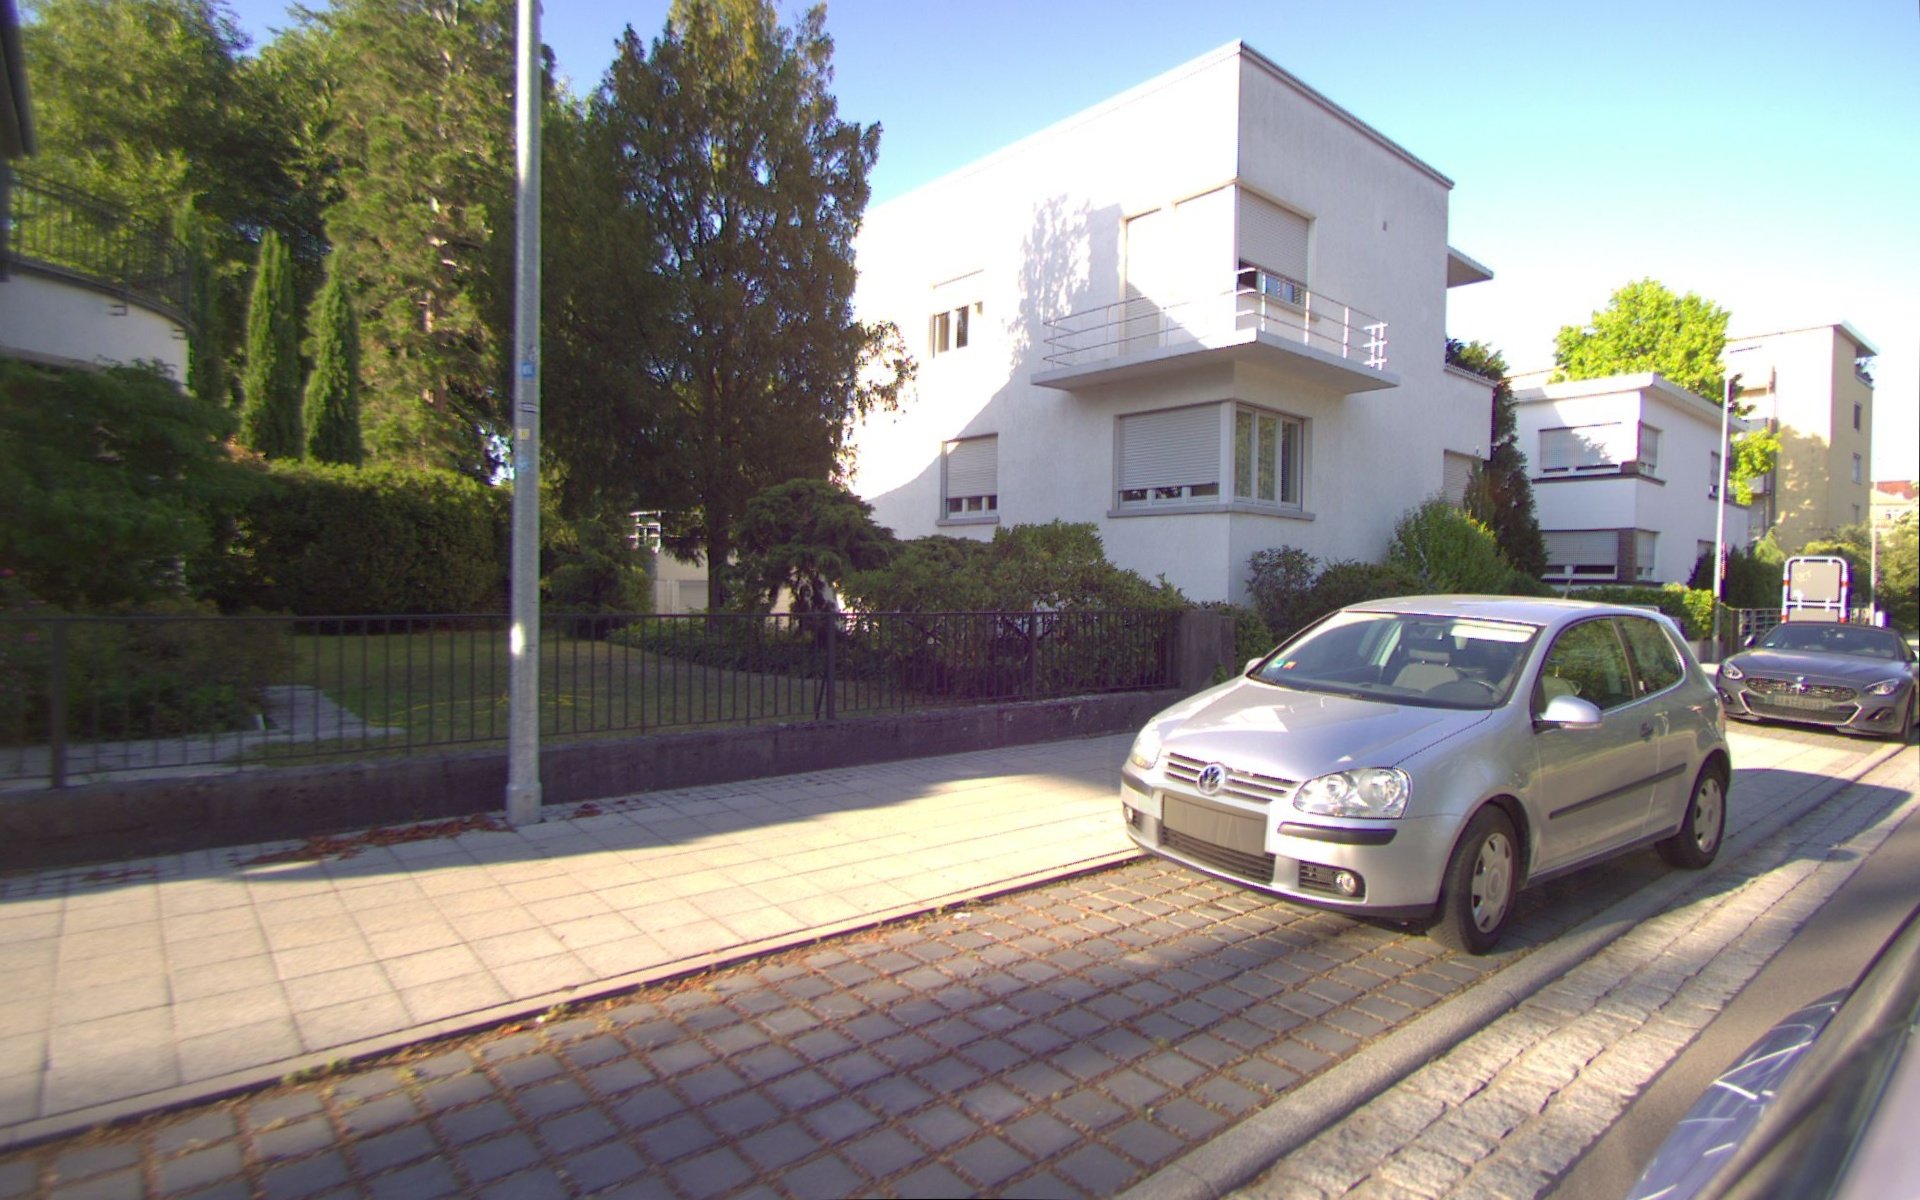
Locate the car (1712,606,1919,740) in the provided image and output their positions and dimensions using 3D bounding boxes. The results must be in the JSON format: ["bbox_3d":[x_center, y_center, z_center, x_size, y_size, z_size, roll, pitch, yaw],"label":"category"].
[{"bbox_3d":[11.316,0.823,12.938,4.196,1.304,1.779,1,3,-41],"label":"car"}]

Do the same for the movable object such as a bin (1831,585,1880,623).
[{"bbox_3d":[35.079,0.148,39.645,1.103,1.450,1.240,0,0,-39],"label":"movable object such as a bin"}]

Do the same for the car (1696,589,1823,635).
[{"bbox_3d":[30.832,0.415,39.094,1.611,1.662,3.507,0,1,-32],"label":"car"}]

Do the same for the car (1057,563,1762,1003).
[{"bbox_3d":[2.571,0.648,5.455,3.849,1.492,1.750,1,4,-37],"label":"car"}]
